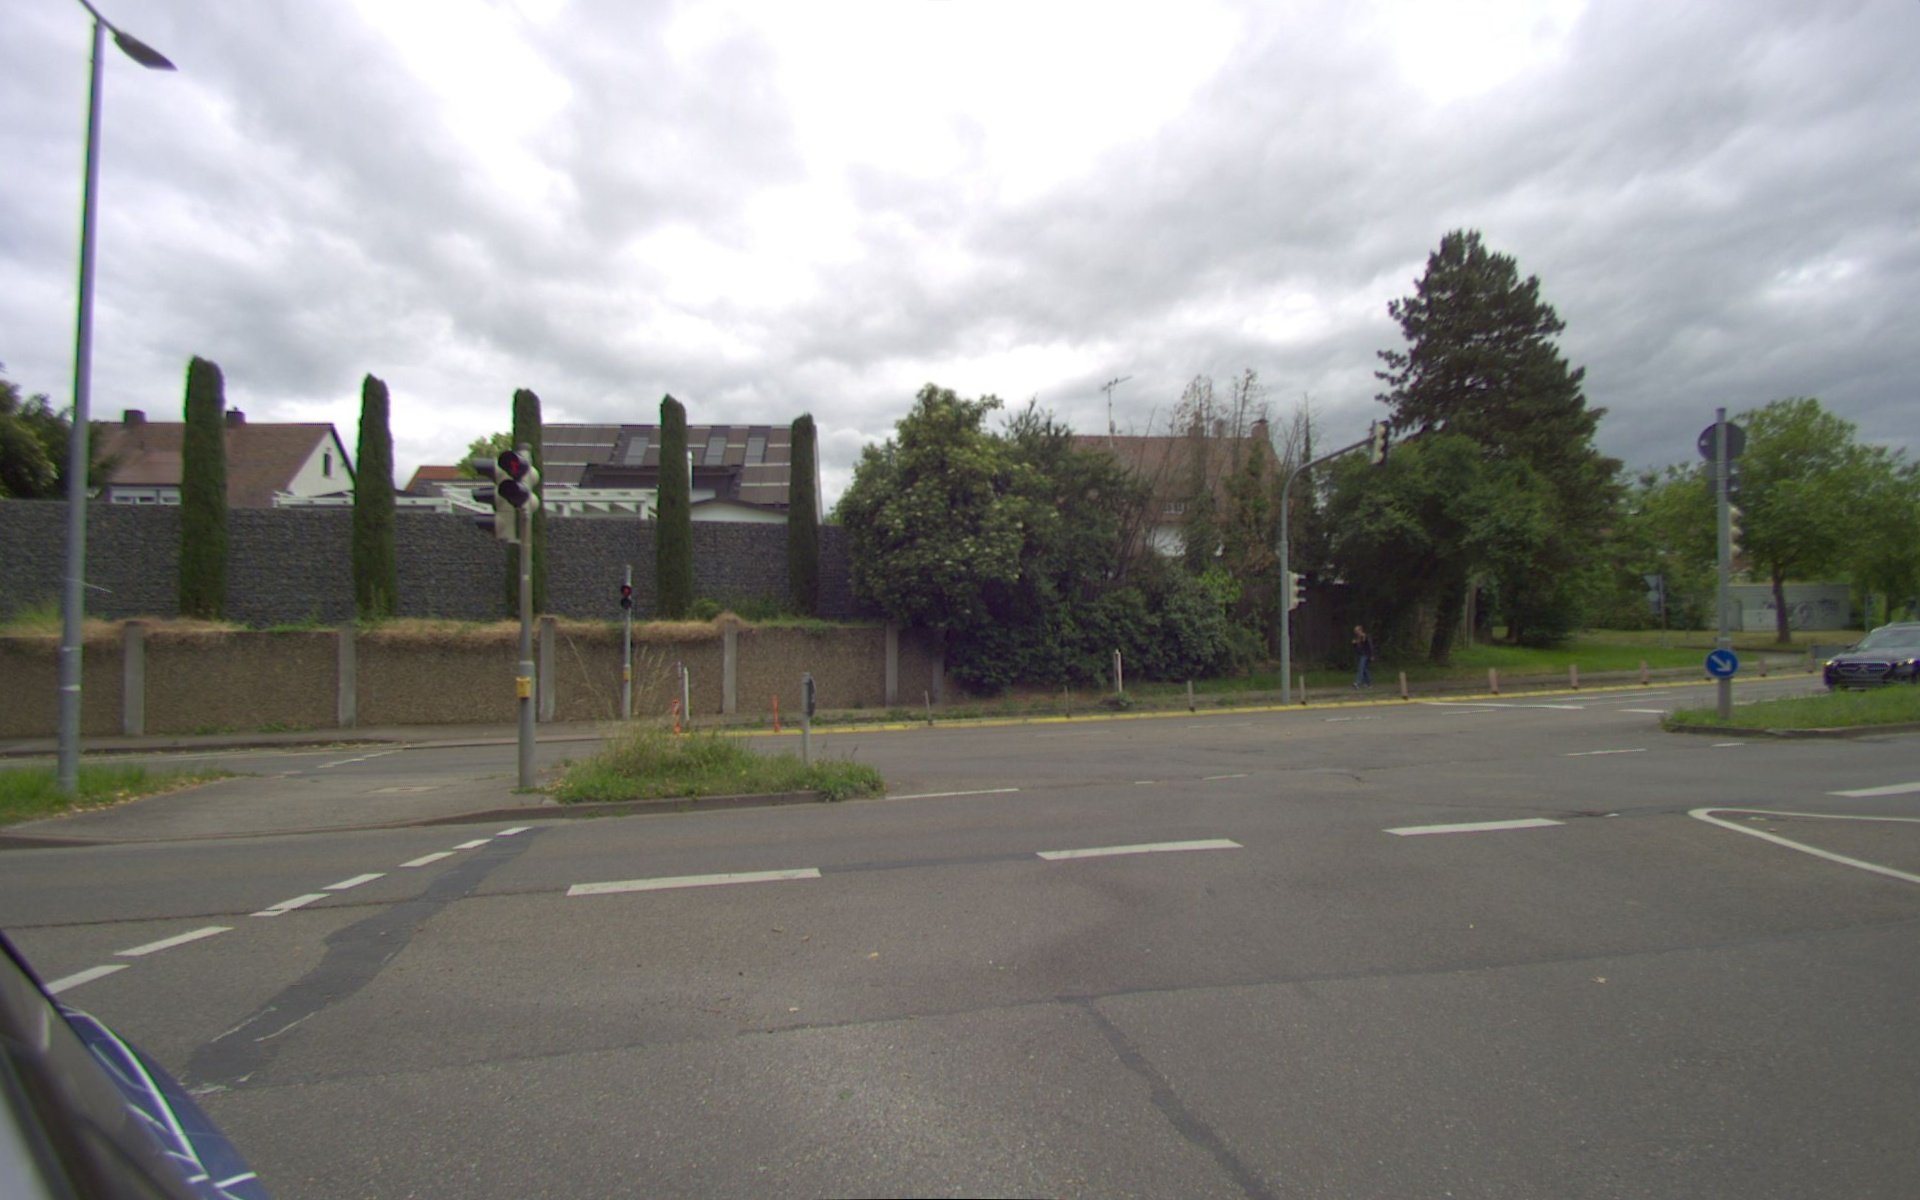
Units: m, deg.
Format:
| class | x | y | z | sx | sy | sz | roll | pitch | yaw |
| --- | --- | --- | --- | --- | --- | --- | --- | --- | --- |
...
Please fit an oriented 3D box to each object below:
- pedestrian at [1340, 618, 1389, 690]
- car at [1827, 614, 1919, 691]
| class | x | y | z | sx | sy | sz | roll | pitch | yaw |
| --- | --- | --- | --- | --- | --- | --- | --- | --- | --- |
| pedestrian | 11.737 | 1.547 | 29.364 | 0.840 | 2.029 | 0.955 | 0 | -2 | -32 |
| car | 21.726 | 1.191 | 23.479 | 4.195 | 1.644 | 1.848 | 1 | -5 | -42 |
